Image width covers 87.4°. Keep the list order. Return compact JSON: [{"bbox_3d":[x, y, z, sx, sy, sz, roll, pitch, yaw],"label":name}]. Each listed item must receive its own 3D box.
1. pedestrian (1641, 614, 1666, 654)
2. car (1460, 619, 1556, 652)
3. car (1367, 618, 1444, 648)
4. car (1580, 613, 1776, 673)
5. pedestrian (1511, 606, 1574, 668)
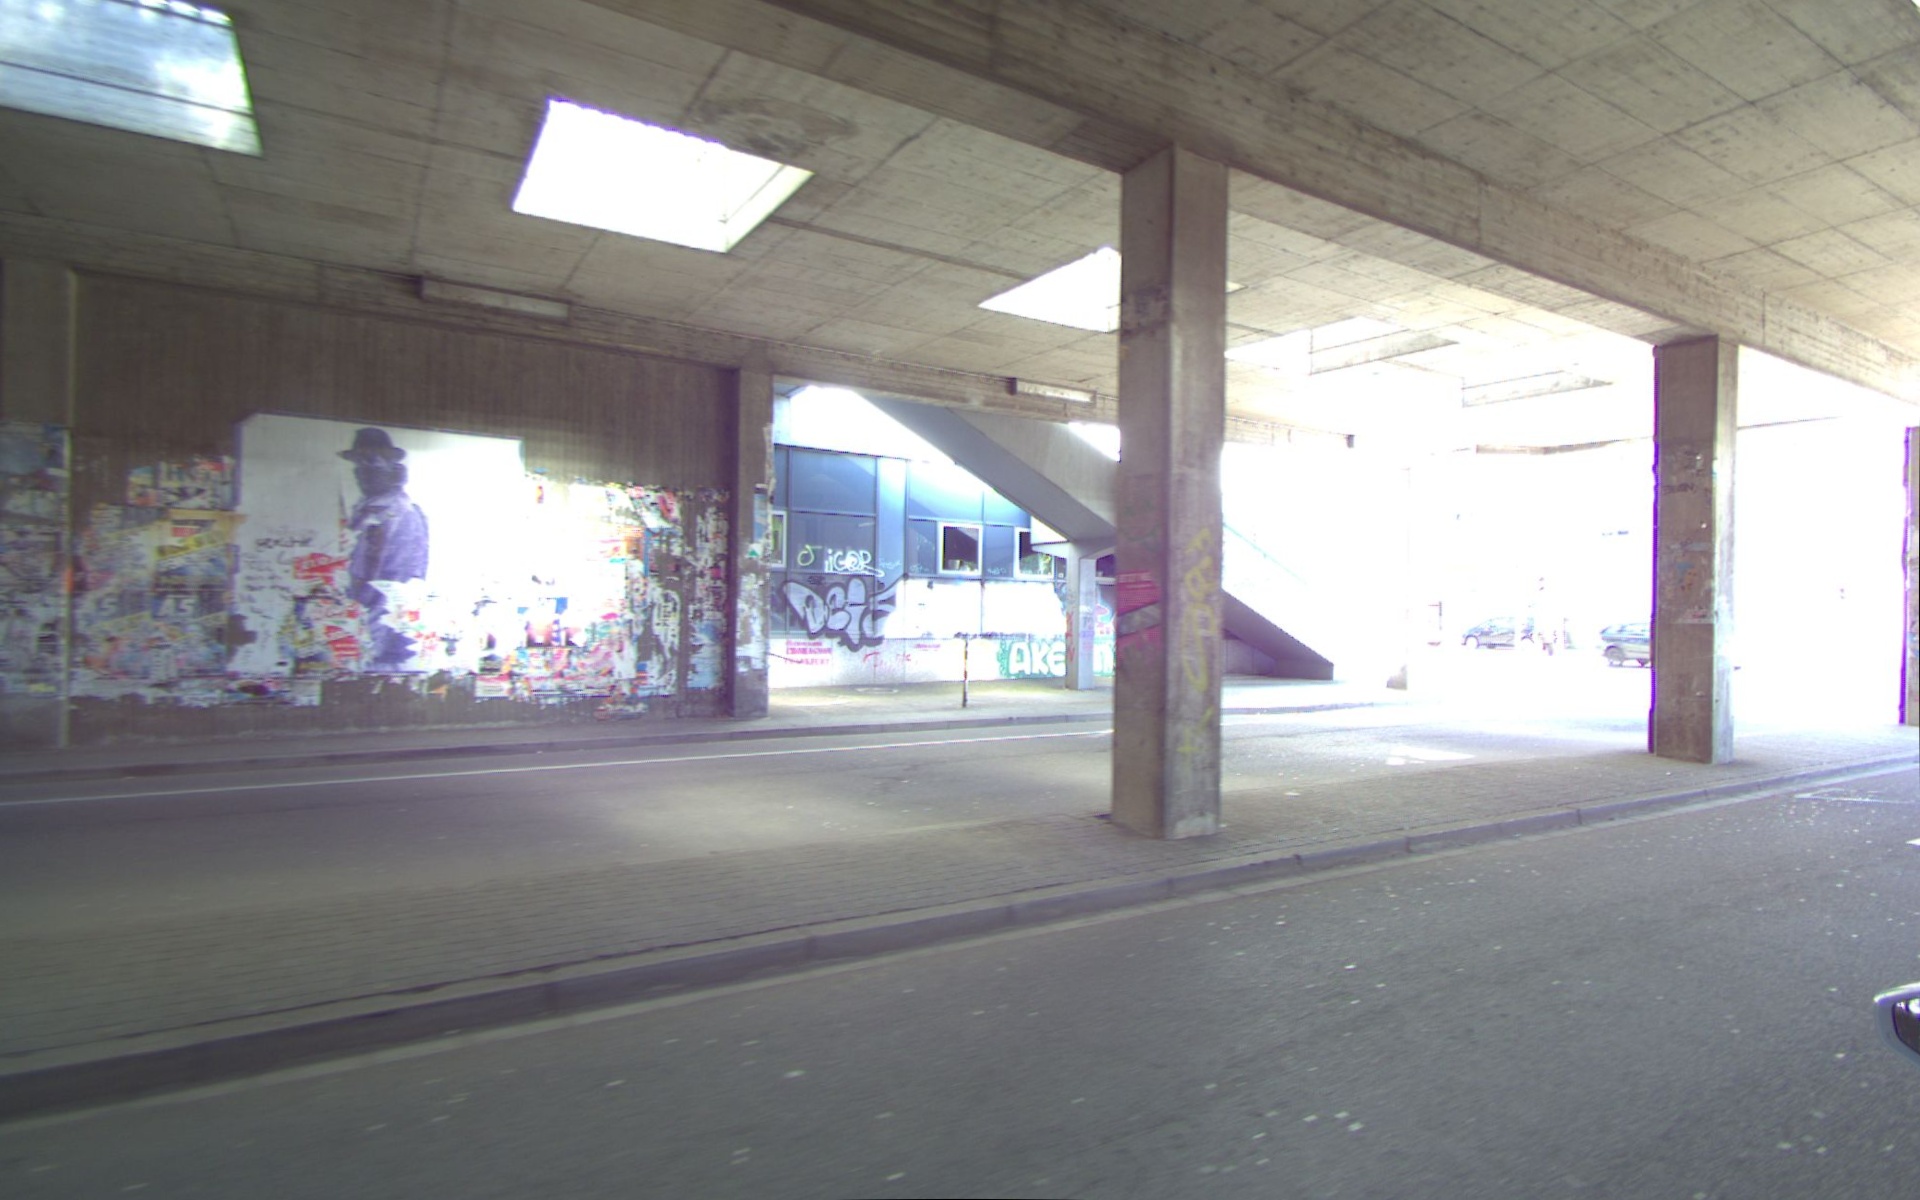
[{"bbox_3d":[30.661,1.507,44.407,0.619,1.727,0.715,1,0,-37],"label":"pedestrian"},{"bbox_3d":[26.454,1.684,48.603,1.732,1.528,3.735,1,-1,-31],"label":"car"},{"bbox_3d":[23.558,1.738,53.245,1.543,1.526,3.517,1,-1,-29],"label":"car"},{"bbox_3d":[21.978,1.248,30.983,1.972,1.663,4.566,-1,-1,-24],"label":"car"},{"bbox_3d":[16.827,1.066,29.047,1.123,1.760,1.111,1,-1,-17],"label":"pedestrian"}]
